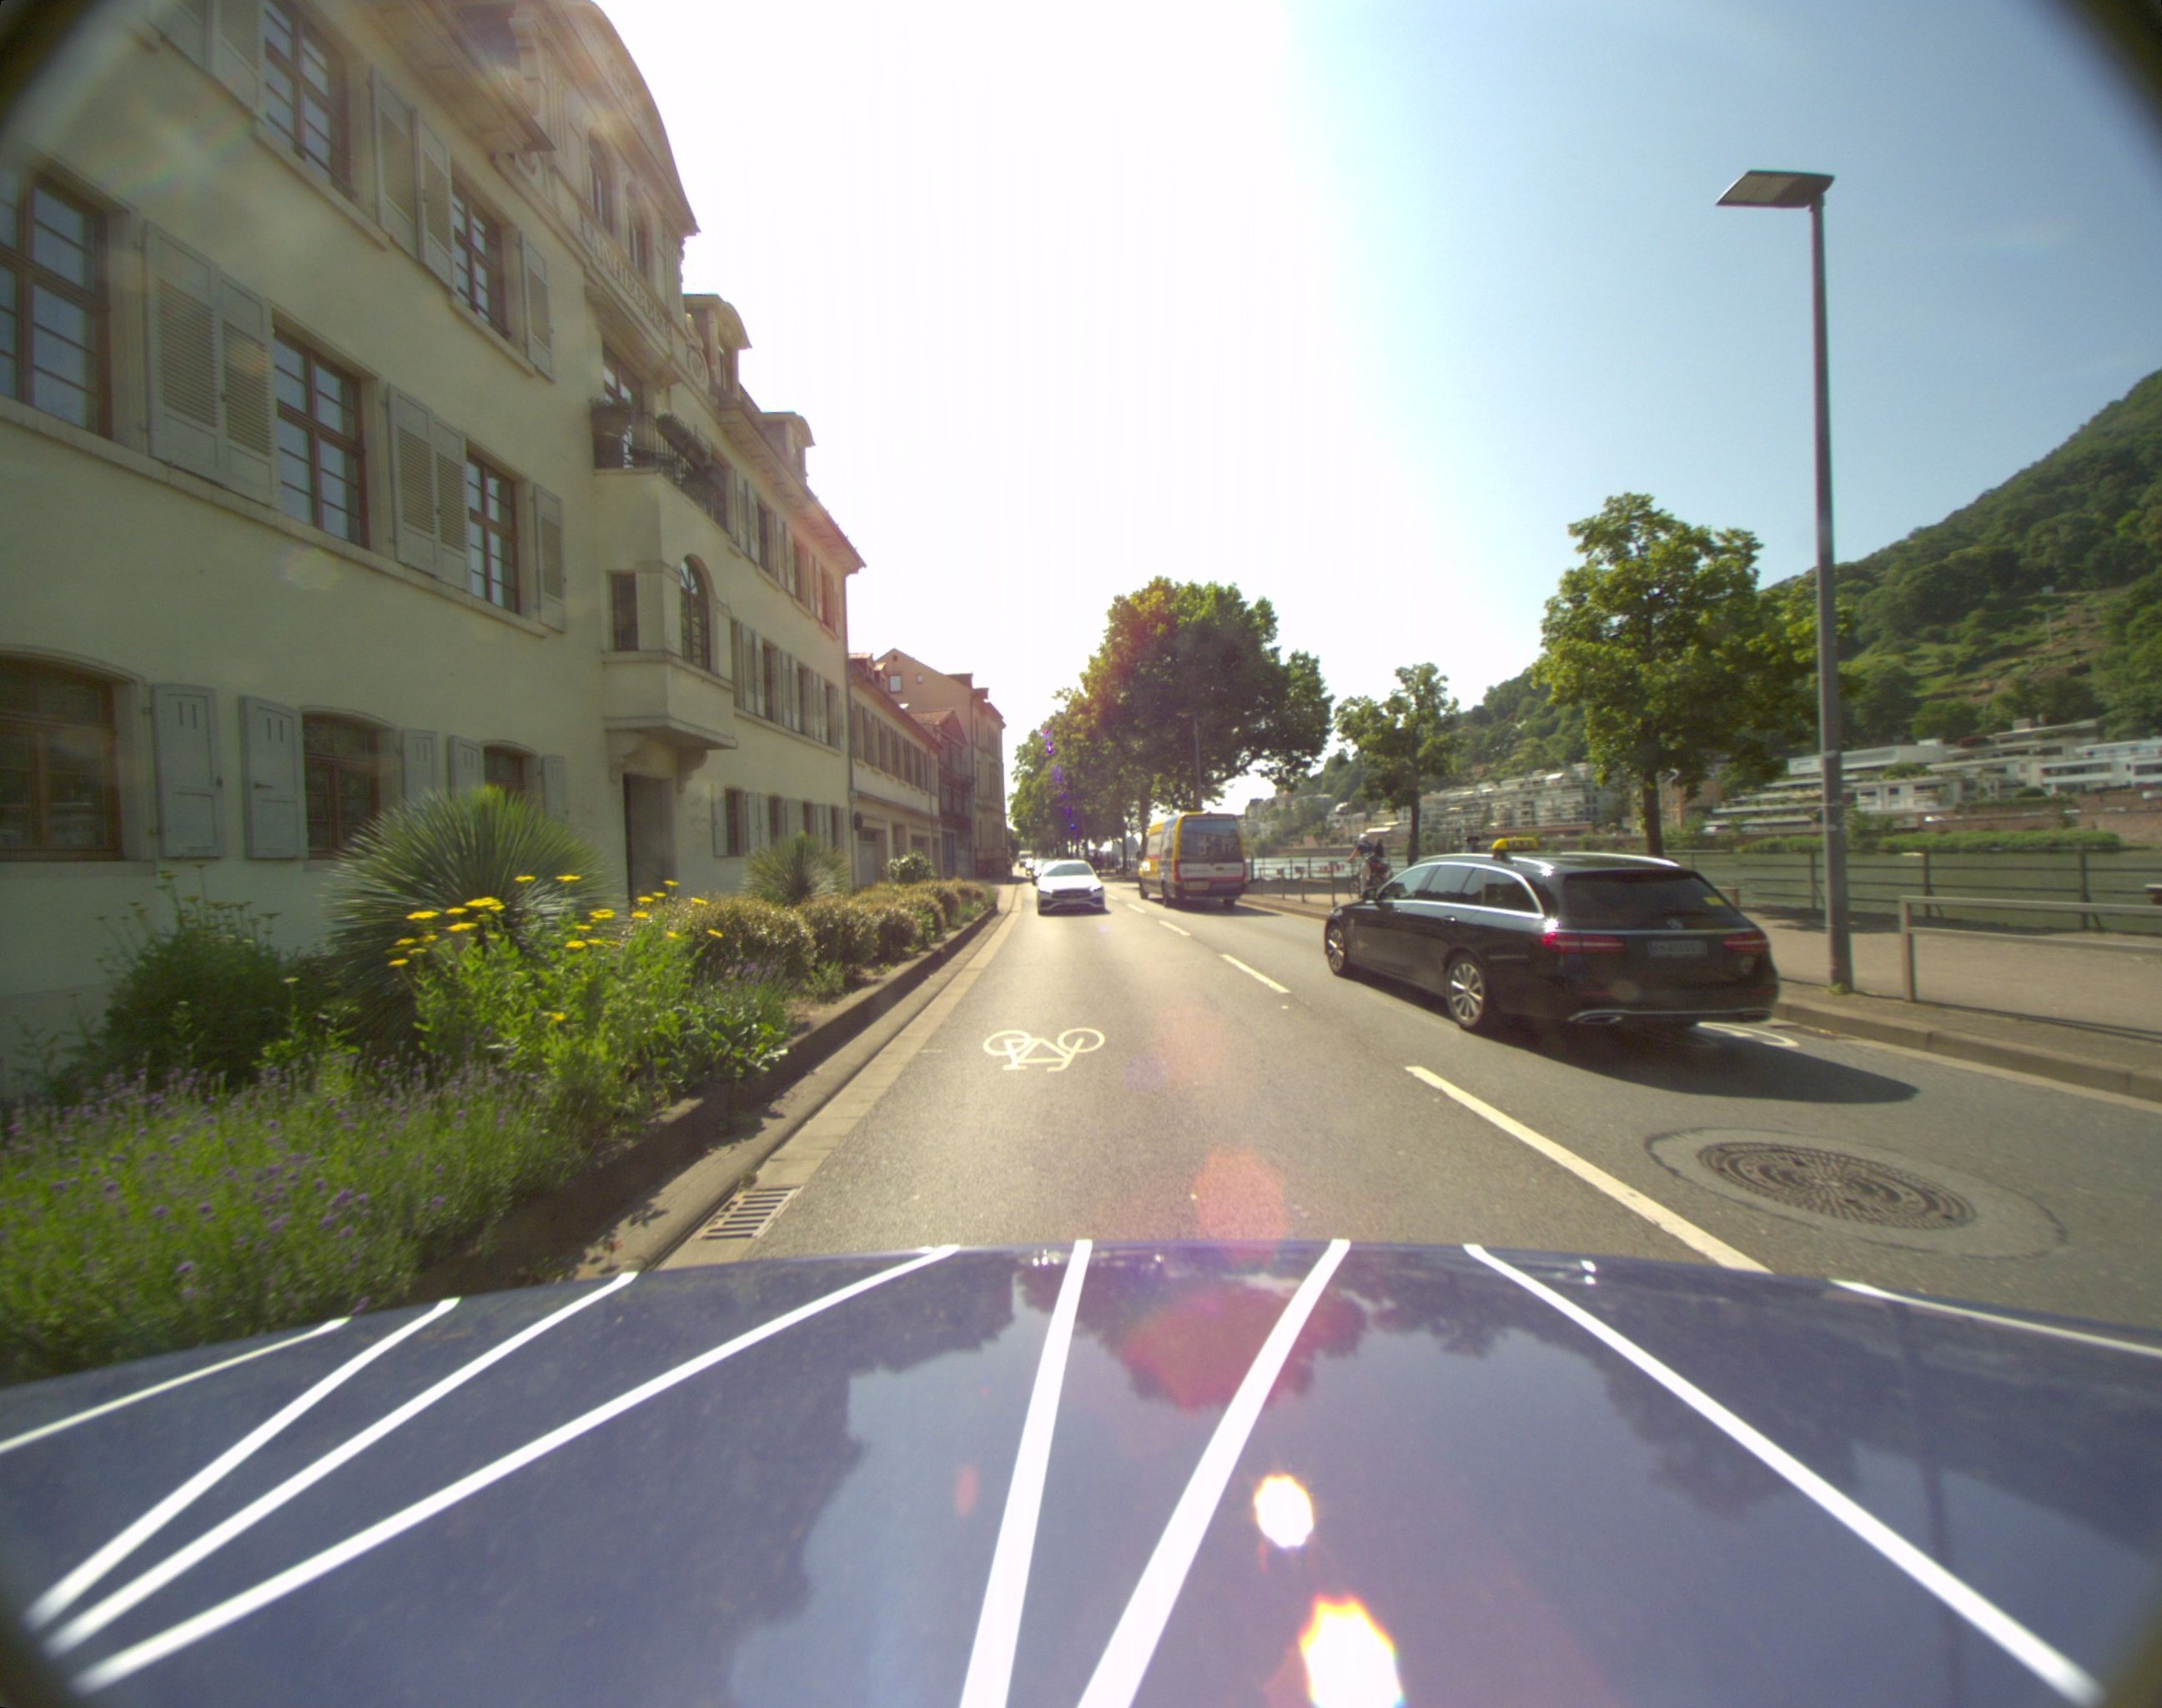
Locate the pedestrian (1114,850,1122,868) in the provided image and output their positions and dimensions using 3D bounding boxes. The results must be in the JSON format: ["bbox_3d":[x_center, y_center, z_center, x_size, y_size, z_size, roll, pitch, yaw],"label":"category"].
[{"bbox_3d":[3.571,0.450,73.539,0.655,1.703,0.793,-1,1,-5],"label":"pedestrian"}]

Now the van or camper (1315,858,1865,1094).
[{"bbox_3d":[4.038,0.802,7.274,1.999,1.446,4.681,-1,0,-2],"label":"van or camper"}]

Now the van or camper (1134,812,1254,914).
[{"bbox_3d":[3.171,0.215,23.150,2.093,2.542,7.089,-3,1,-4],"label":"van or camper"}]

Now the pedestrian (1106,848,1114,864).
[{"bbox_3d":[3.201,0.256,84.135,0.713,1.754,0.971,-2,1,-5],"label":"pedestrian"}]

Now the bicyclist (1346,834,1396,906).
[{"bbox_3d":[7.066,0.380,18.533,0.742,1.658,1.089,-2,0,0],"label":"bicyclist"}]

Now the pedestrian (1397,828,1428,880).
[{"bbox_3d":[12.615,0.004,28.935,0.695,1.934,0.886,-2,1,-5],"label":"pedestrian"}]

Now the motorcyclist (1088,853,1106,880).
[{"bbox_3d":[0.938,0.756,45.426,0.881,1.573,1.025,-4,-2,-6],"label":"motorcyclist"}]

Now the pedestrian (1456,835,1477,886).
[{"bbox_3d":[12.291,0.213,24.243,0.415,1.588,0.451,-2,1,3],"label":"pedestrian"}]

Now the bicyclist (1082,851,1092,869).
[{"bbox_3d":[0.501,0.502,65.849,0.768,1.522,1.025,-4,-1,-3],"label":"bicyclist"}]

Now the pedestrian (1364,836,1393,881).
[{"bbox_3d":[11.542,0.166,29.511,0.758,1.673,0.658,-5,1,0],"label":"pedestrian"}]

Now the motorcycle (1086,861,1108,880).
[{"bbox_3d":[0.934,1.011,45.840,0.886,1.071,2.327,-4,-1,-8],"label":"motorcycle"}]

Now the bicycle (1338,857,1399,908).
[{"bbox_3d":[7.067,0.677,18.756,0.713,1.162,1.896,-3,0,-1],"label":"bicycle"}]

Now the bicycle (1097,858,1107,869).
[{"bbox_3d":[1.934,0.886,70.551,0.756,0.973,1.952,-1,0,-4],"label":"bicycle"}]

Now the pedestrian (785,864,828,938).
[{"bbox_3d":[-6.446,1.092,17.882,0.764,1.704,0.695,1,1,-2],"label":"pedestrian"}]

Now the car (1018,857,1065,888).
[{"bbox_3d":[-2.013,0.928,39.968,1.875,1.415,4.745,-3,0,3],"label":"car"}]

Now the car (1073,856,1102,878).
[{"bbox_3d":[0.411,0.886,55.001,1.706,1.450,4.000,-2,1,-4],"label":"car"}]

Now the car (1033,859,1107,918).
[{"bbox_3d":[-0.359,0.908,21.969,1.875,1.416,4.743,-1,0,-2],"label":"car"}]

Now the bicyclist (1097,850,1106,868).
[{"bbox_3d":[1.923,0.446,70.519,0.721,1.574,1.089,-2,1,-3],"label":"bicyclist"}]

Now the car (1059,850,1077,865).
[{"bbox_3d":[-1.497,0.401,84.318,1.706,1.436,4.090,-3,-1,-4],"label":"car"}]

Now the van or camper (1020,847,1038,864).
[{"bbox_3d":[-7.759,0.177,112.121,2.438,2.271,6.200,-2,1,-5],"label":"van or camper"}]

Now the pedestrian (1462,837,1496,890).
[{"bbox_3d":[12.390,0.288,23.680,0.695,1.607,0.664,-2,1,3],"label":"pedestrian"}]
